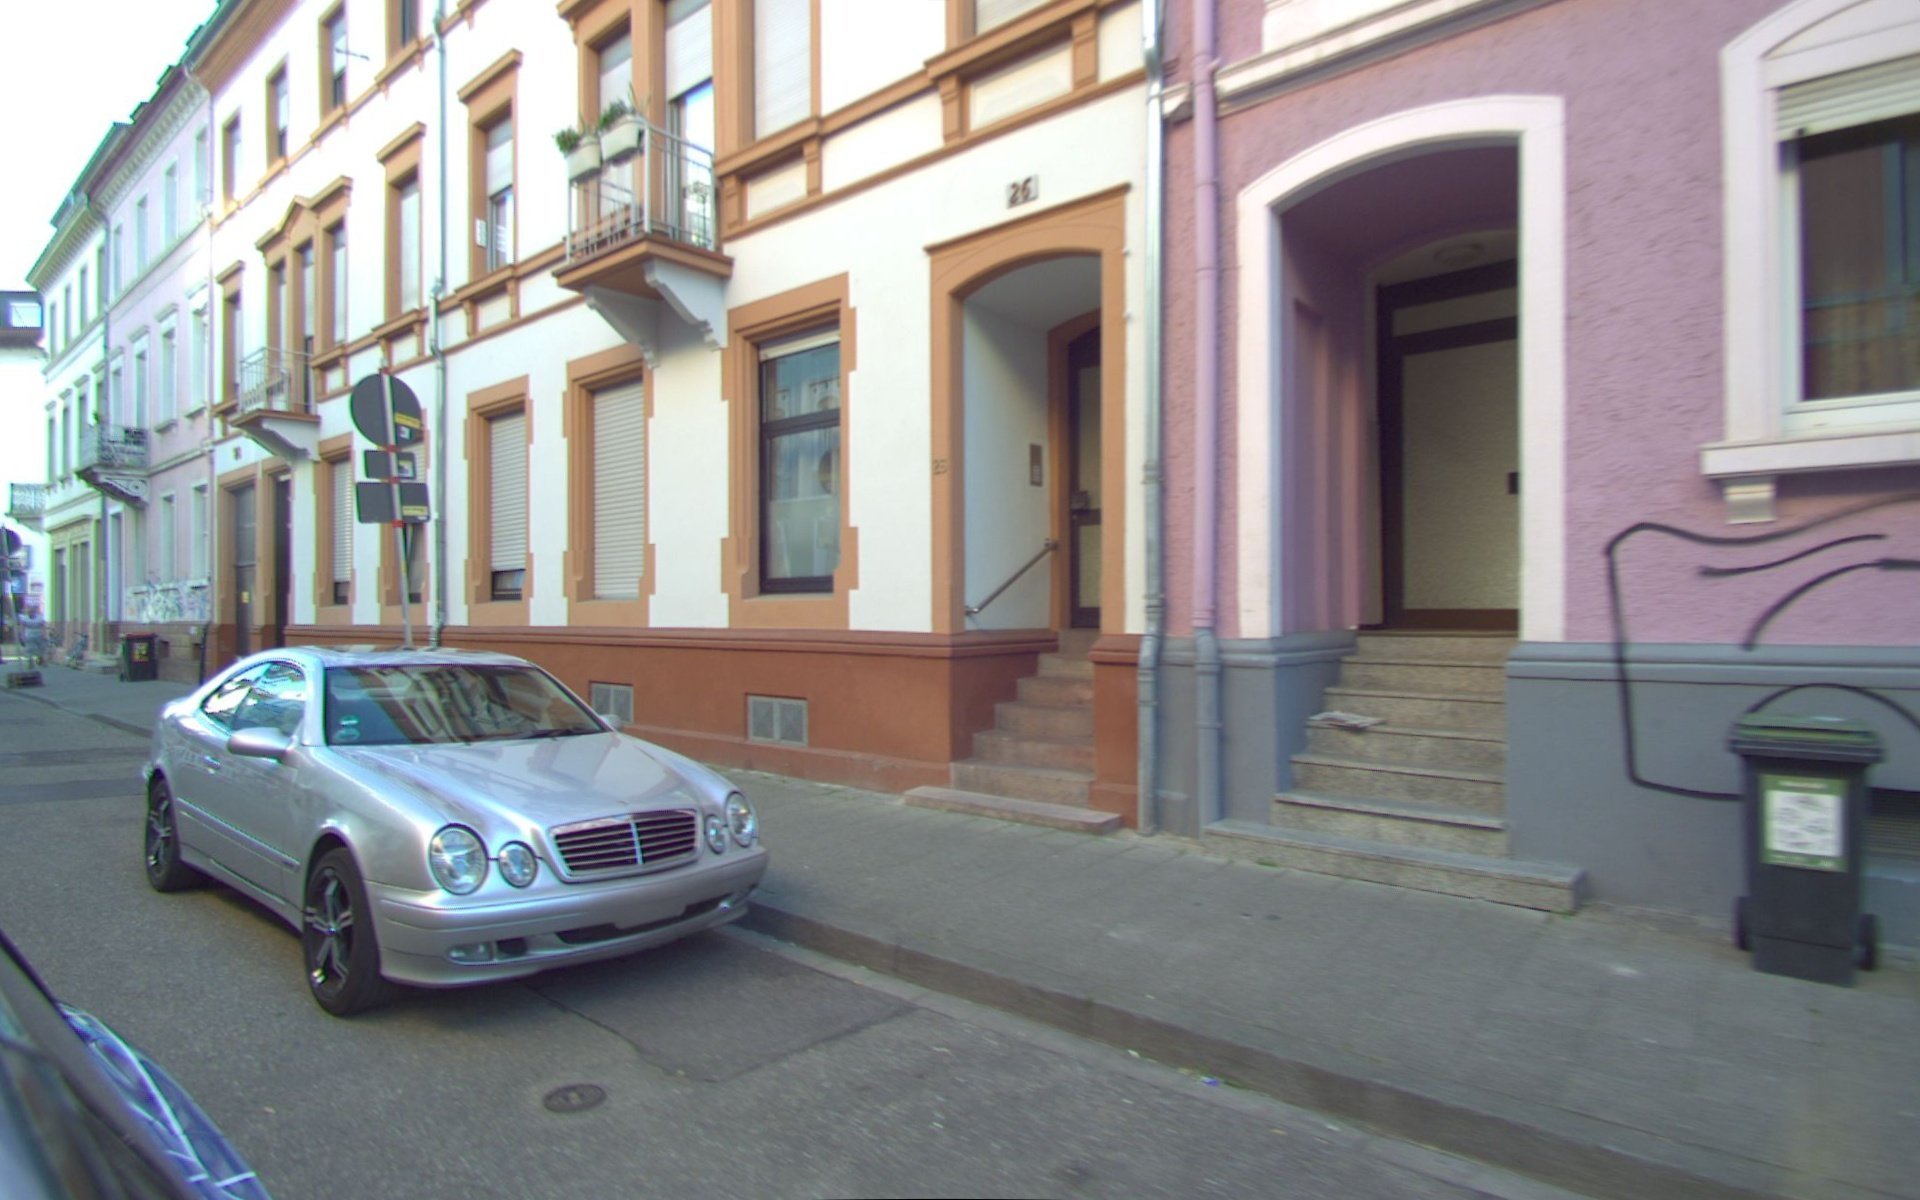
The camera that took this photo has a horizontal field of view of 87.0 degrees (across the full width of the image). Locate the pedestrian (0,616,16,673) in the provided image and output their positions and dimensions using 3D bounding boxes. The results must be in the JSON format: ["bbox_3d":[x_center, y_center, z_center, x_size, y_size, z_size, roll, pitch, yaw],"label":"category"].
[{"bbox_3d":[-32.073,1.488,33.708,0.778,1.863,0.763,-1,0,33],"label":"pedestrian"}]

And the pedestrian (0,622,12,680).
[{"bbox_3d":[-30.528,1.589,31.591,0.976,1.806,0.828,2,-3,2],"label":"pedestrian"}]

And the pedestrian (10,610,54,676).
[{"bbox_3d":[-25.310,1.185,27.606,0.864,1.714,0.687,-4,1,40],"label":"pedestrian"}]

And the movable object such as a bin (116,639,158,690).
[{"bbox_3d":[-17.652,1.380,21.706,0.596,1.043,0.599,-1,0,39],"label":"movable object such as a bin"}]

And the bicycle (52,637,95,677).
[{"bbox_3d":[-24.157,1.534,27.570,1.817,1.030,0.616,-1,-1,41],"label":"bicycle"}]

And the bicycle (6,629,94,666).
[{"bbox_3d":[-35.788,1.847,39.830,0.928,1.369,2.450,-1,-1,41],"label":"bicycle"}]

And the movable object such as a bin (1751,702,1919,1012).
[{"bbox_3d":[3.196,0.881,3.667,0.487,0.952,0.538,-1,0,41],"label":"movable object such as a bin"}]

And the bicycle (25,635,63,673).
[{"bbox_3d":[-27.662,1.608,30.552,1.817,1.030,0.597,0,3,41],"label":"bicycle"}]

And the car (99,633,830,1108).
[{"bbox_3d":[-2.840,0.913,5.224,4.502,1.394,1.693,-1,-3,40],"label":"car"}]
